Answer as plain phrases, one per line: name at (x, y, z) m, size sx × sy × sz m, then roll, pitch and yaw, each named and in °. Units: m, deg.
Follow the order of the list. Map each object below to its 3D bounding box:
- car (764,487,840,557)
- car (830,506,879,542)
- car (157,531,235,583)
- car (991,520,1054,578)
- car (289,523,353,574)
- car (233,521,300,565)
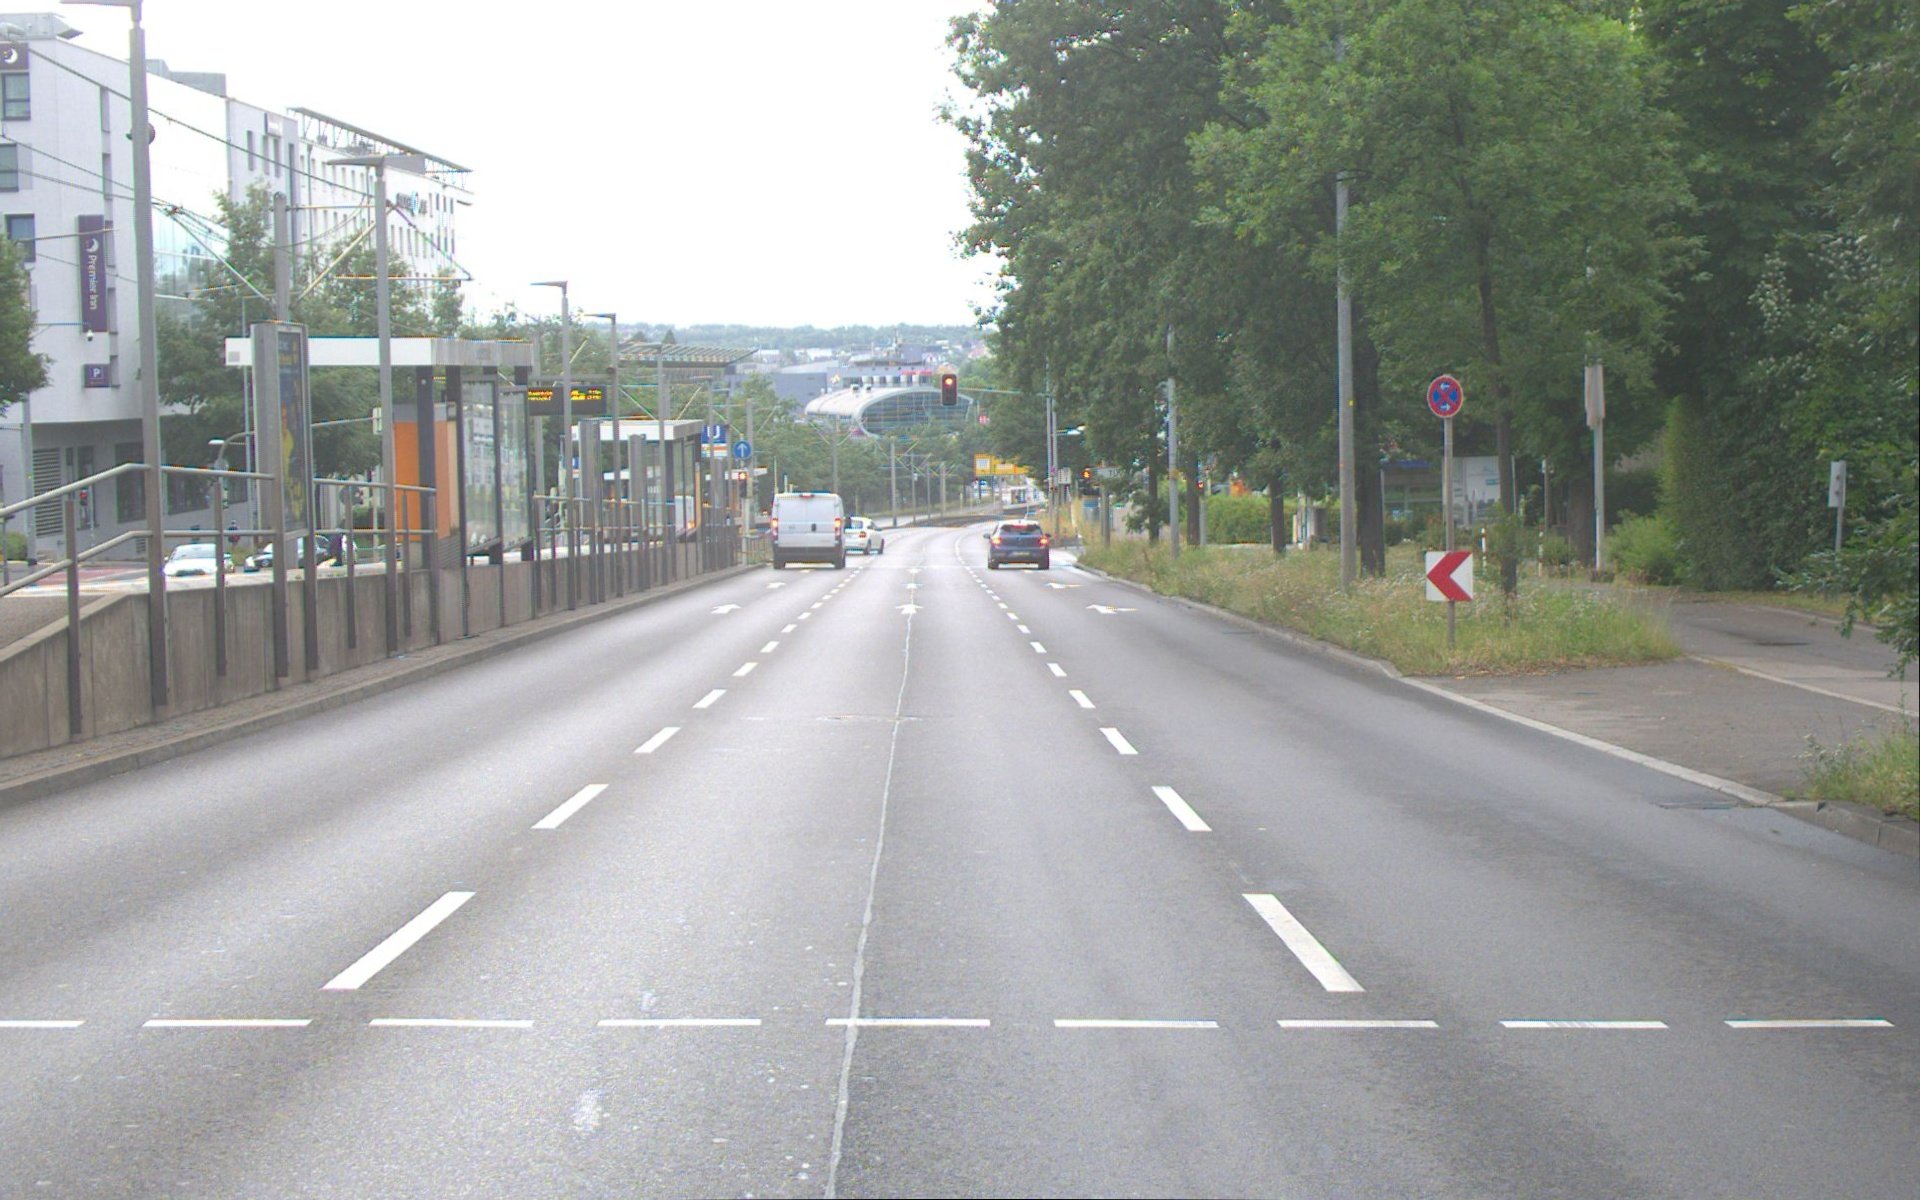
car at (-4.683, -2.333, 102.430) m, size 2.093 × 2.046 × 4.607 m, roll 0°, pitch 1°, yaw -1°
car at (-4.113, -2.968, 134.533) m, size 1.783 × 1.385 × 4.000 m, roll 0°, pitch 1°, yaw 0°
car at (-22.893, -1.304, 103.088) m, size 1.650 × 1.431 × 3.880 m, roll -3°, pitch 1°, yaw -4°
car at (1.850, -1.544, 102.785) m, size 1.774 × 1.685 × 3.846 m, roll 0°, pitch 1°, yaw -1°
car at (-19.372, -1.553, 104.182) m, size 1.650 × 1.431 × 3.881 m, roll -3°, pitch 1°, yaw -13°
car at (-22.431, -1.851, 111.242) m, size 1.567 × 1.374 × 3.519 m, roll 0°, pitch 2°, yaw -2°
